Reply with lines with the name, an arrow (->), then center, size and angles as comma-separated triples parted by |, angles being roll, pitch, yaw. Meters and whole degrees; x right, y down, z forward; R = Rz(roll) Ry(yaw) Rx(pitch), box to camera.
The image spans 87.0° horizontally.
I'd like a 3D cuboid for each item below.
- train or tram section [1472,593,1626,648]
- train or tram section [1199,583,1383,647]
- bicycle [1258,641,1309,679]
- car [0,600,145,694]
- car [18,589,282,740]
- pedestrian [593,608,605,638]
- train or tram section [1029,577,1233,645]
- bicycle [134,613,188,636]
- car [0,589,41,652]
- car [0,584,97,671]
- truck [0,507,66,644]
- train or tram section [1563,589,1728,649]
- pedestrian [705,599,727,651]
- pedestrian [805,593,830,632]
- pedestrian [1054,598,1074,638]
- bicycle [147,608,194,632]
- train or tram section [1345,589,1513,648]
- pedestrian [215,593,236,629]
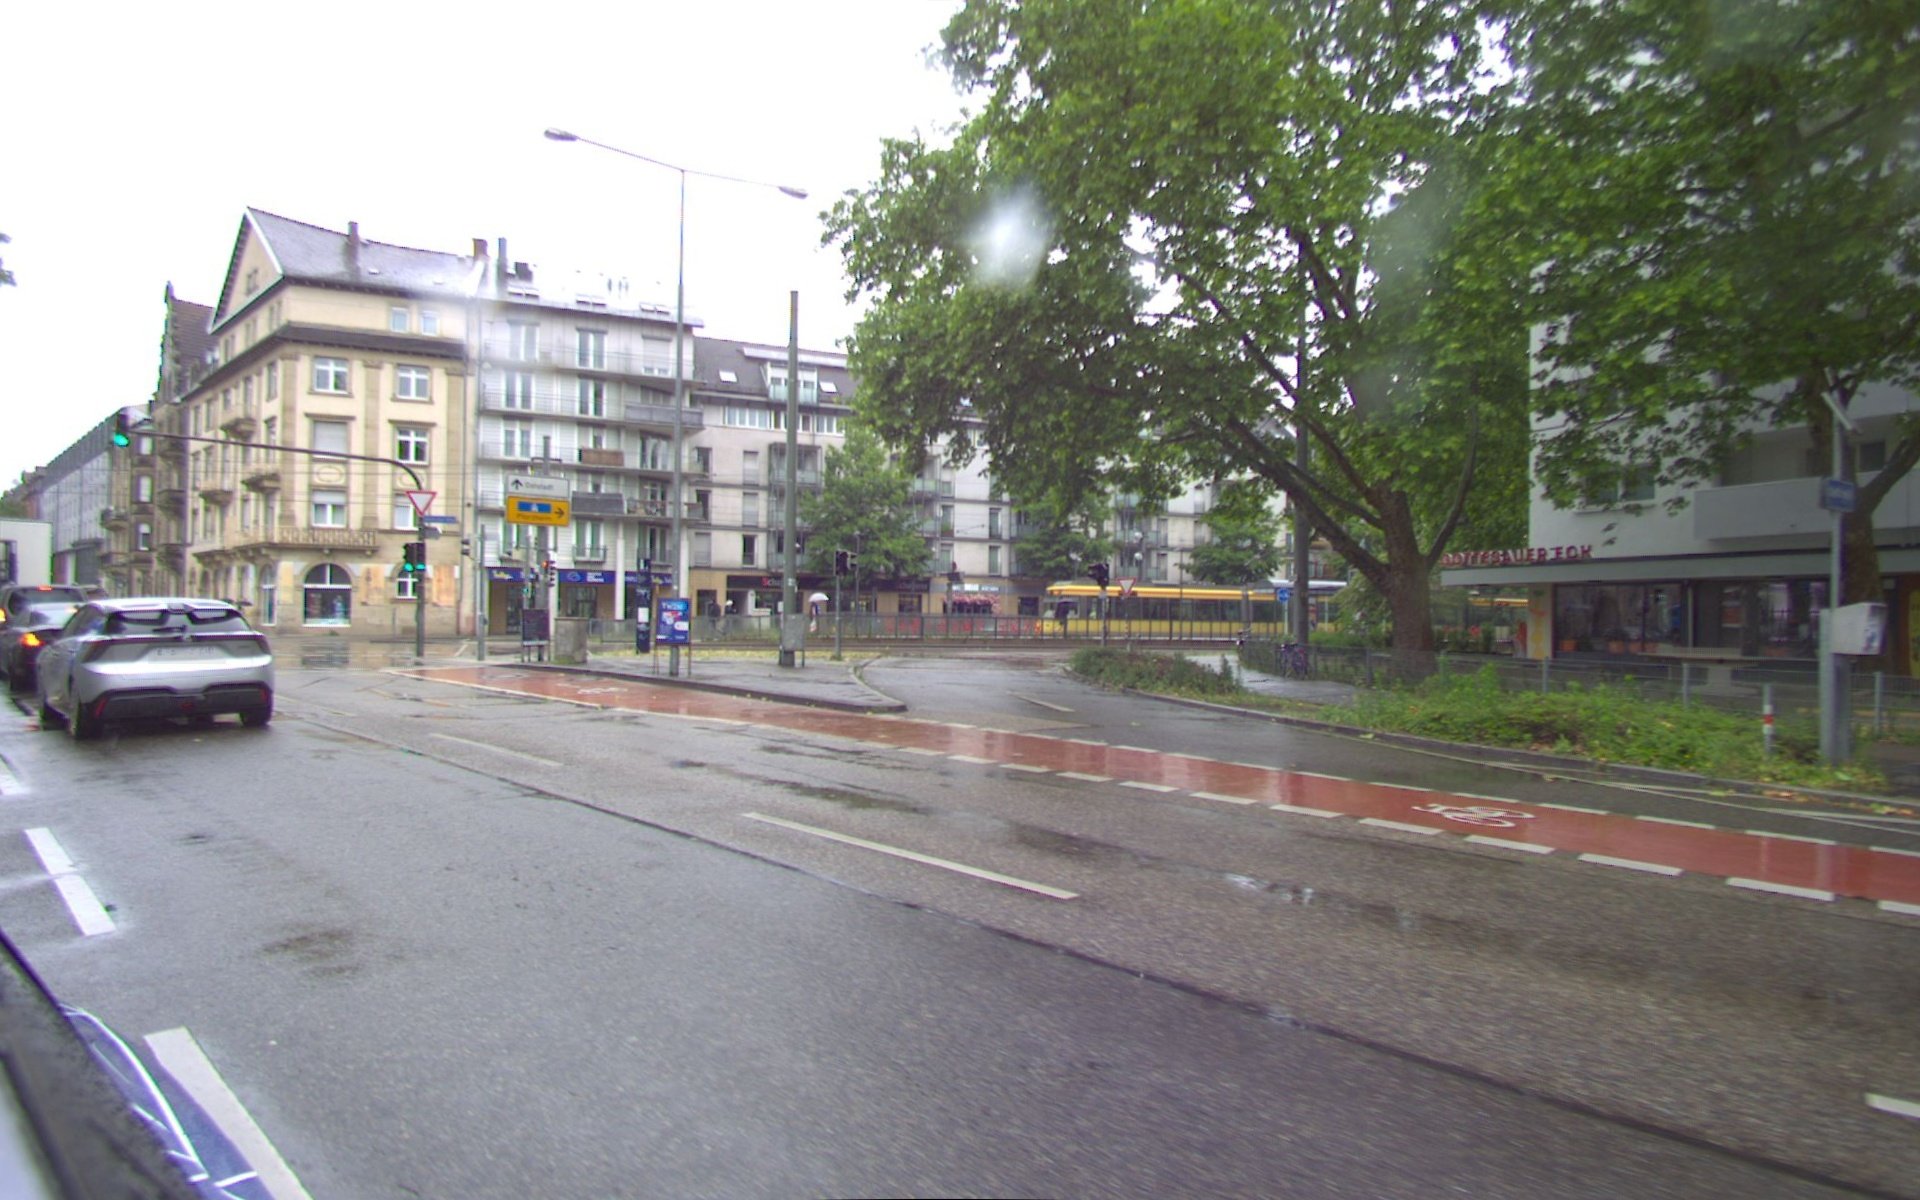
train or tram section -> 41.029, 1.485, 70.360 | 11.376, 3.530, 3.083 | 2, -1, -23
train or tram section -> 20.146, 0.975, 61.323 | 11.376, 3.530, 3.083 | 2, -1, -23
bicycle -> 8.754, 1.615, 27.481 | 0.630, 0.875, 2.317 | 0, 0, 0
car -> -15.752, 0.723, 17.721 | 4.363, 1.400, 1.723 | 1, 0, 43
car -> -9.870, 0.670, 12.230 | 4.054, 1.521, 1.825 | 0, -2, 42
pedestrian -> -21.897, 1.384, 61.389 | 0.601, 1.794, 0.501 | 1, -2, -23
train or tram section -> 9.698, 0.701, 56.825 | 11.376, 3.530, 3.083 | 2, -1, -23
bicycle -> -46.213, 1.428, 58.556 | 0.639, 1.356, 2.318 | -1, -2, 38
car -> -26.052, 0.530, 27.153 | 4.000, 1.616, 1.723 | 0, -2, 43
car -> -21.825, 0.624, 23.861 | 4.110, 1.876, 1.787 | 0, -2, 43
truck -> -32.247, -0.713, 33.289 | 10.311, 4.056, 2.816 | 0, -2, 41
train or tram section -> 43.888, 1.280, 64.667 | 11.376, 3.530, 3.083 | 2, -1, -23
pedestrian -> -9.952, 1.010, 41.261 | 0.690, 2.093, 0.639 | 2, -2, -28
pedestrian -> -6.100, 0.536, 43.370 | 0.803, 1.661, 0.797 | 2, -2, -24
pedestrian -> 4.918, 0.873, 47.706 | 0.667, 1.852, 0.642 | 2, -2, -24
bicycle -> -46.144, 1.171, 59.159 | 0.584, 1.356, 2.037 | -1, -2, 38
train or tram section -> 30.580, 1.257, 65.838 | 11.376, 3.530, 3.083 | 2, -1, -23
pedestrian -> -41.709, 0.623, 57.442 | 0.906, 1.980, 0.702 | 1, 1, -39
